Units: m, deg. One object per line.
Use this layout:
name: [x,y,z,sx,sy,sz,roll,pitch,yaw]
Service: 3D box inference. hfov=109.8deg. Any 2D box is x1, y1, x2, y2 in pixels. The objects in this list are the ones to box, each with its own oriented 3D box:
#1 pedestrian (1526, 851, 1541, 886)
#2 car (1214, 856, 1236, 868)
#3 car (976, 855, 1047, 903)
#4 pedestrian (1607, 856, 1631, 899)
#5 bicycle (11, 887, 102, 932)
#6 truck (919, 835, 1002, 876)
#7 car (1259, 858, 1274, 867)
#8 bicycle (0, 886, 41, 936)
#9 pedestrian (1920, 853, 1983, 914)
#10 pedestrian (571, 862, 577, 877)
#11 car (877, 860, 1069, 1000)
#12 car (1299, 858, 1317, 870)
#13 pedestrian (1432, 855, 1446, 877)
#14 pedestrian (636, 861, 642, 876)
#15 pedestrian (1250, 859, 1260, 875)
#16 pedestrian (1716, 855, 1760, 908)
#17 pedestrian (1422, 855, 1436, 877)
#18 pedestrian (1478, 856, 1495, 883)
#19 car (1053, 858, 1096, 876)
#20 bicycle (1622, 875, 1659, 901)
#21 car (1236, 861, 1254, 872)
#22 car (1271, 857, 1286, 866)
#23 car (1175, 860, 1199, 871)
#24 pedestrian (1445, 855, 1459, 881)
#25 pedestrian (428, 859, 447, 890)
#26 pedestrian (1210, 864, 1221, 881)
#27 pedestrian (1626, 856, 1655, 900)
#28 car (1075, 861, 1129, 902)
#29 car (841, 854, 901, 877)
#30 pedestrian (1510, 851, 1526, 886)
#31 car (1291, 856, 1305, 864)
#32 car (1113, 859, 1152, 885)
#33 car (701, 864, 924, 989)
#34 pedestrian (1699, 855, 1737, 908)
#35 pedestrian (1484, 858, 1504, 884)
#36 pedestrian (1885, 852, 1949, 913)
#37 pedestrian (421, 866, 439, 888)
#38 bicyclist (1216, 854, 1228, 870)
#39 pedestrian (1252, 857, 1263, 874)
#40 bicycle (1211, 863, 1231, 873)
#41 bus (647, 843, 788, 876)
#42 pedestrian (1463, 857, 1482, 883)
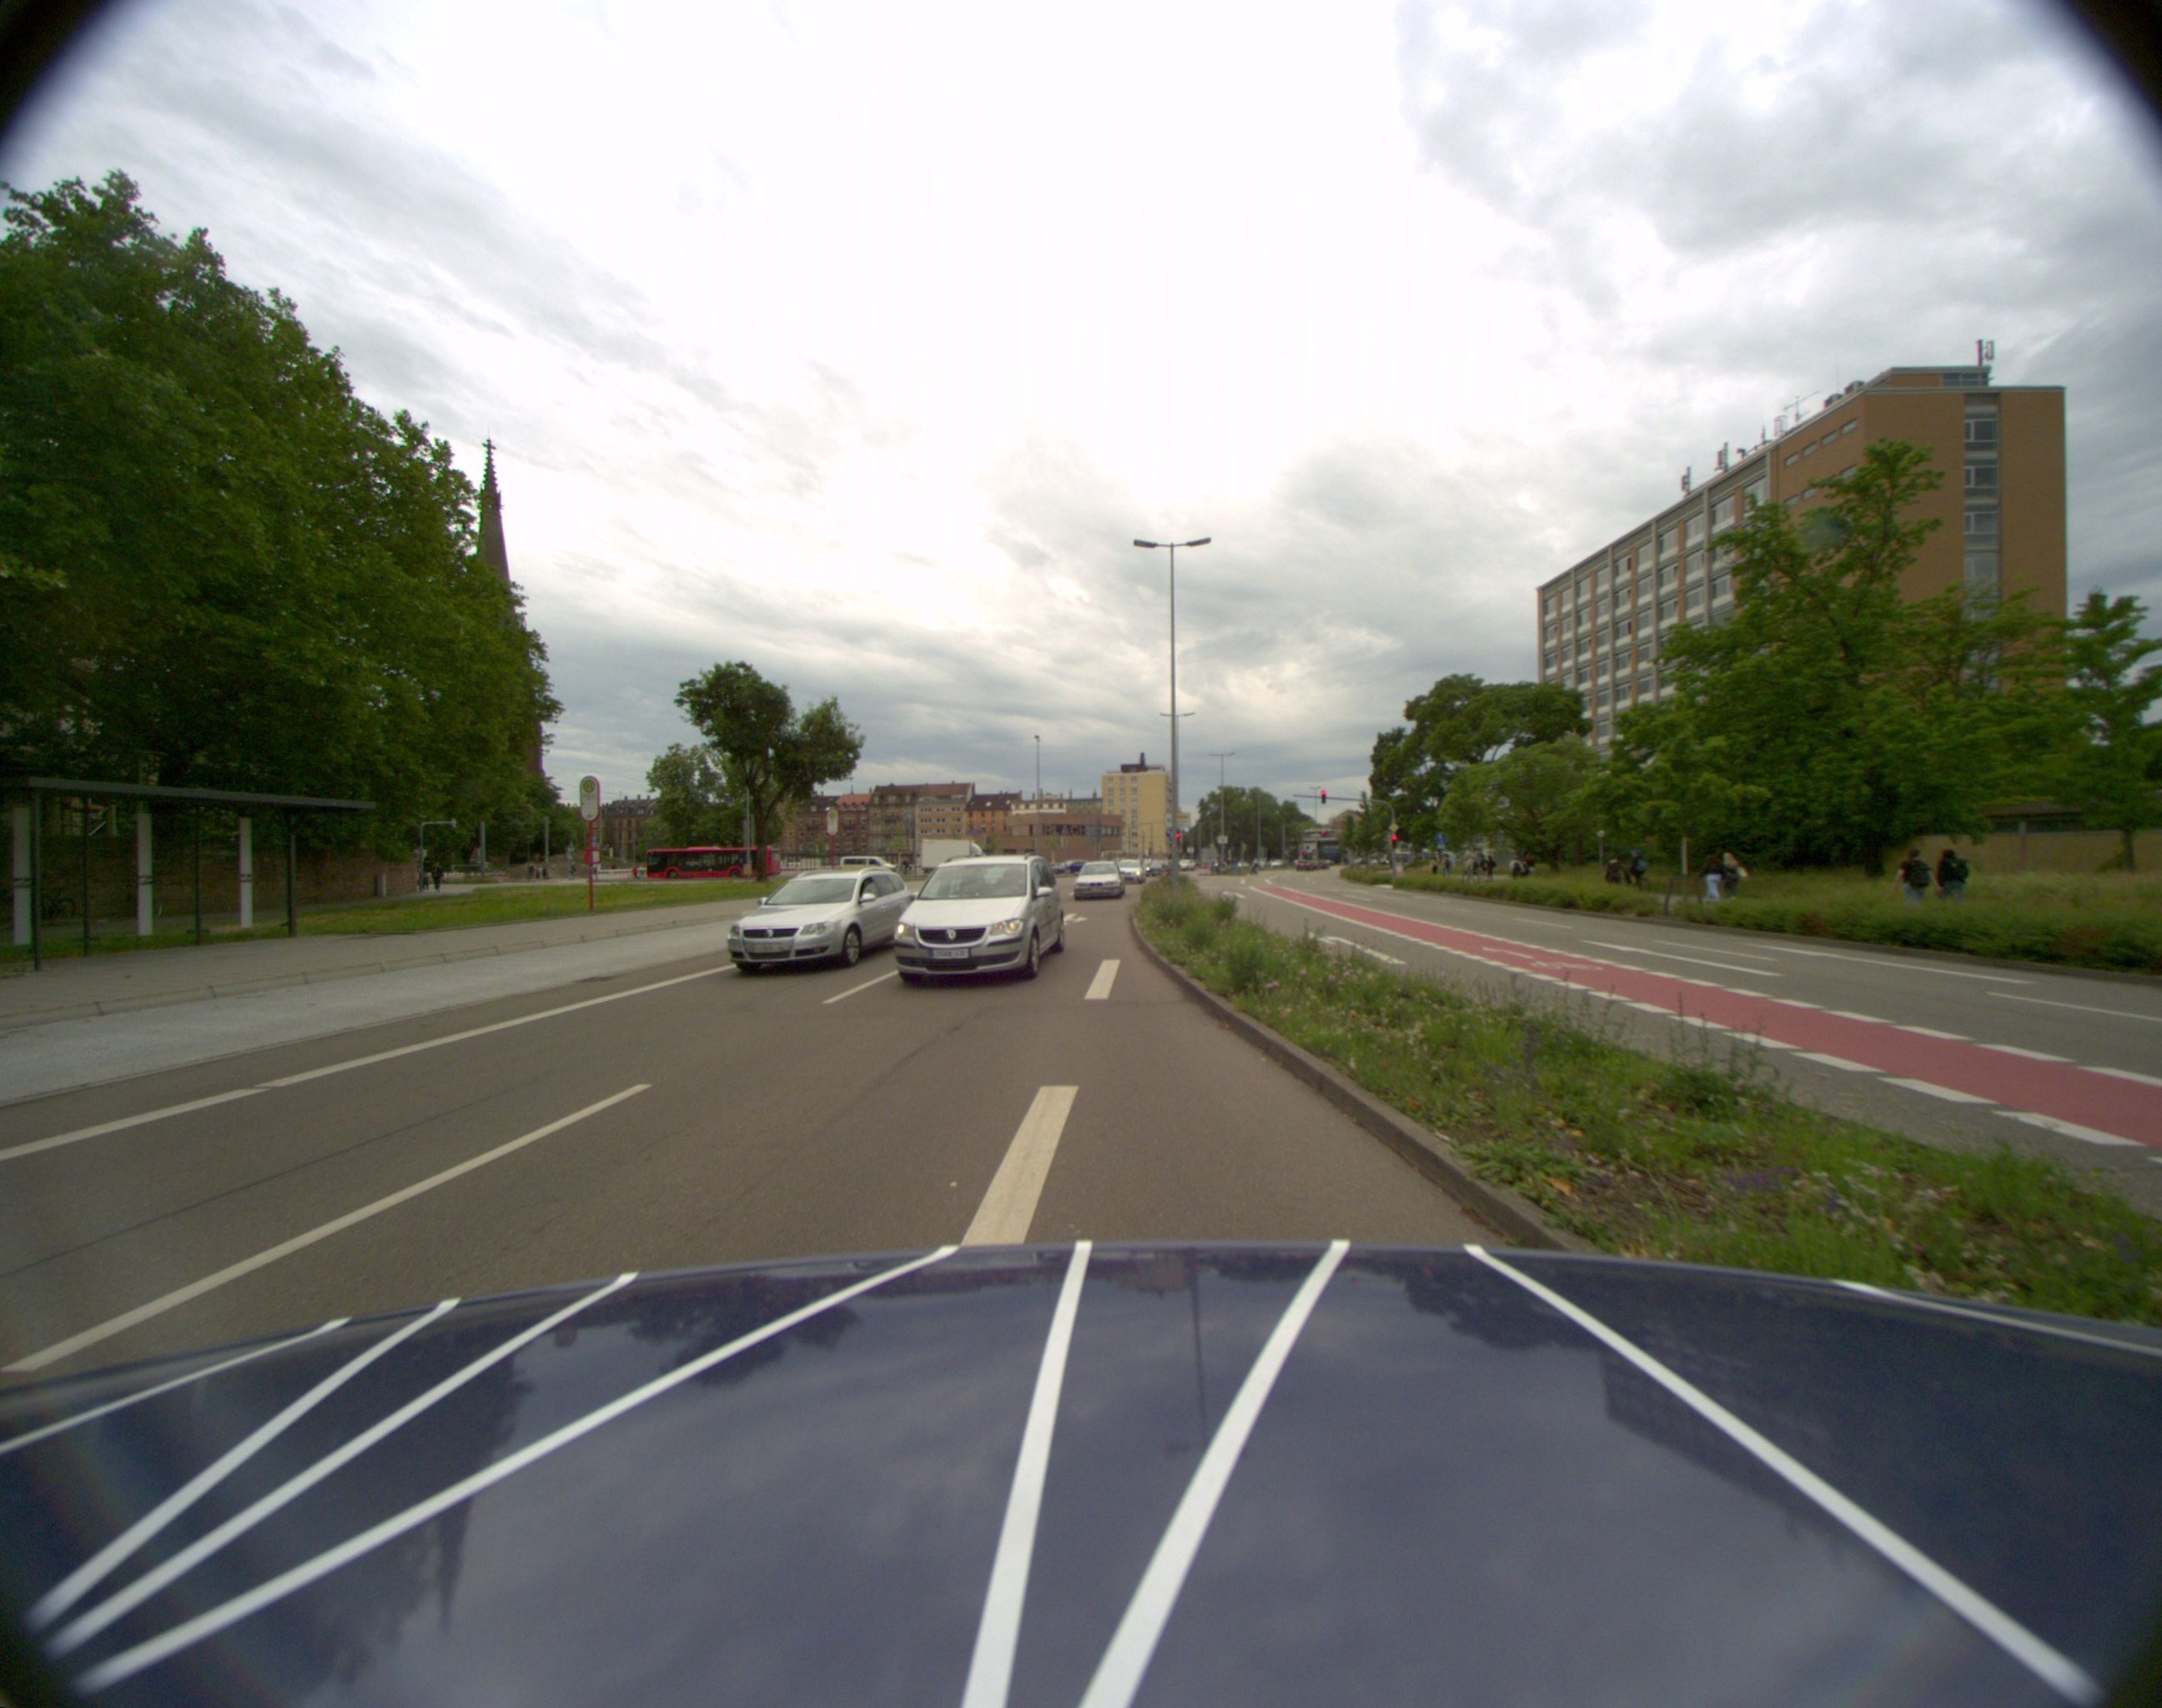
pedestrian: [22.516,0.700,37.788,0.579,1.702,0.763,1,0,32]
car: [22.495,1.251,118.717,1.994,1.870,4.009,1,0,33]
car: [-2.527,0.887,28.746,1.911,1.615,4.492,-2,0,4]
pedestrian: [20.305,0.870,28.684,0.575,1.599,0.617,1,0,21]
bicycle: [-24.736,1.314,18.378,0.552,0.986,1.634,1,0,-23]
truck: [-10.527,0.135,66.799,6.849,3.392,2.560,-1,2,0]
car: [34.075,1.625,139.717,1.606,1.586,3.767,1,0,30]
bicycle: [-24.155,1.276,16.754,0.596,1.053,1.710,1,0,-20]
pedestrian: [19.733,0.656,17.237,0.646,1.354,0.681,1,0,3]
pedestrian: [-56.674,1.719,84.936,0.373,1.695,0.372,1,0,4]
car: [-1.307,0.921,10.957,1.733,1.593,4.107,-1,0,6]
car: [32.260,1.429,107.972,1.812,1.657,3.956,1,1,27]
pedestrian: [27.223,0.885,57.743,0.708,1.661,0.890,-2,0,9]
pedestrian: [-43.645,1.424,74.975,0.371,1.458,0.374,1,0,4]
pedestrian: [17.978,1.301,78.596,0.777,1.657,0.707,1,0,-3]
pedestrian: [20.967,0.858,24.244,0.708,1.662,0.767,1,0,0]
pedestrian: [26.462,0.915,57.781,0.708,1.661,0.944,-1,0,9]
pedestrian: [23.152,0.879,43.396,0.636,1.471,0.762,1,0,9]
car: [-0.582,1.356,76.554,1.759,1.735,4.442,1,0,42]
bicycle: [20.966,1.265,28.486,0.661,0.882,1.717,1,0,20]
car: [27.865,2.089,128.831,1.834,1.753,3.919,1,0,30]
car: [38.363,1.424,147.555,1.801,1.586,3.767,1,0,30]
car: [14.998,1.668,107.175,1.815,1.466,4.041,1,0,34]
pedestrian: [26.197,1.007,53.683,0.638,1.790,0.762,-1,0,9]
pedestrian: [-37.455,1.186,44.220,0.759,1.725,0.820,1,0,-44]
pedestrian: [13.974,1.934,78.960,0.917,1.794,0.541,1,0,21]
pedestrian: [20.975,0.886,28.491,0.661,1.622,0.764,1,0,20]
car: [0.879,1.013,29.329,1.726,1.405,4.248,-2,-1,6]
car: [-18.479,0.994,66.947,4.710,1.909,1.920,-1,3,2]
pedestrian: [21.743,0.708,37.810,0.622,1.685,0.748,1,0,30]
car: [44.715,1.324,156.398,1.606,1.586,3.768,1,0,37]
car: [3.169,1.069,46.192,1.784,1.454,3.874,-1,0,11]
car: [-4.189,1.034,12.787,1.829,1.542,4.527,-2,1,4]
pedestrian: [20.294,0.859,24.230,0.587,1.650,0.720,1,0,0]
pedestrian: [25.752,1.066,47.392,0.635,1.603,0.829,-2,0,-16]
pedestrian: [19.032,0.633,17.306,0.646,1.350,0.711,1,0,4]
pedestrian: [-49.627,1.763,57.931,0.871,1.628,0.693,-1,-1,19]
bicyclist: [15.202,0.902,82.038,1.191,1.725,0.807,1,0,7]
pedestrian: [18.806,1.219,80.964,0.768,1.794,0.739,1,0,-17]
bicycle: [15.097,1.514,82.052,2.004,1.136,0.807,1,0,7]
bus: [-34.683,0.574,72.661,12.086,2.890,2.938,-1,0,1]
pedestrian: [22.371,0.914,43.463,0.730,1.471,0.813,1,0,9]
